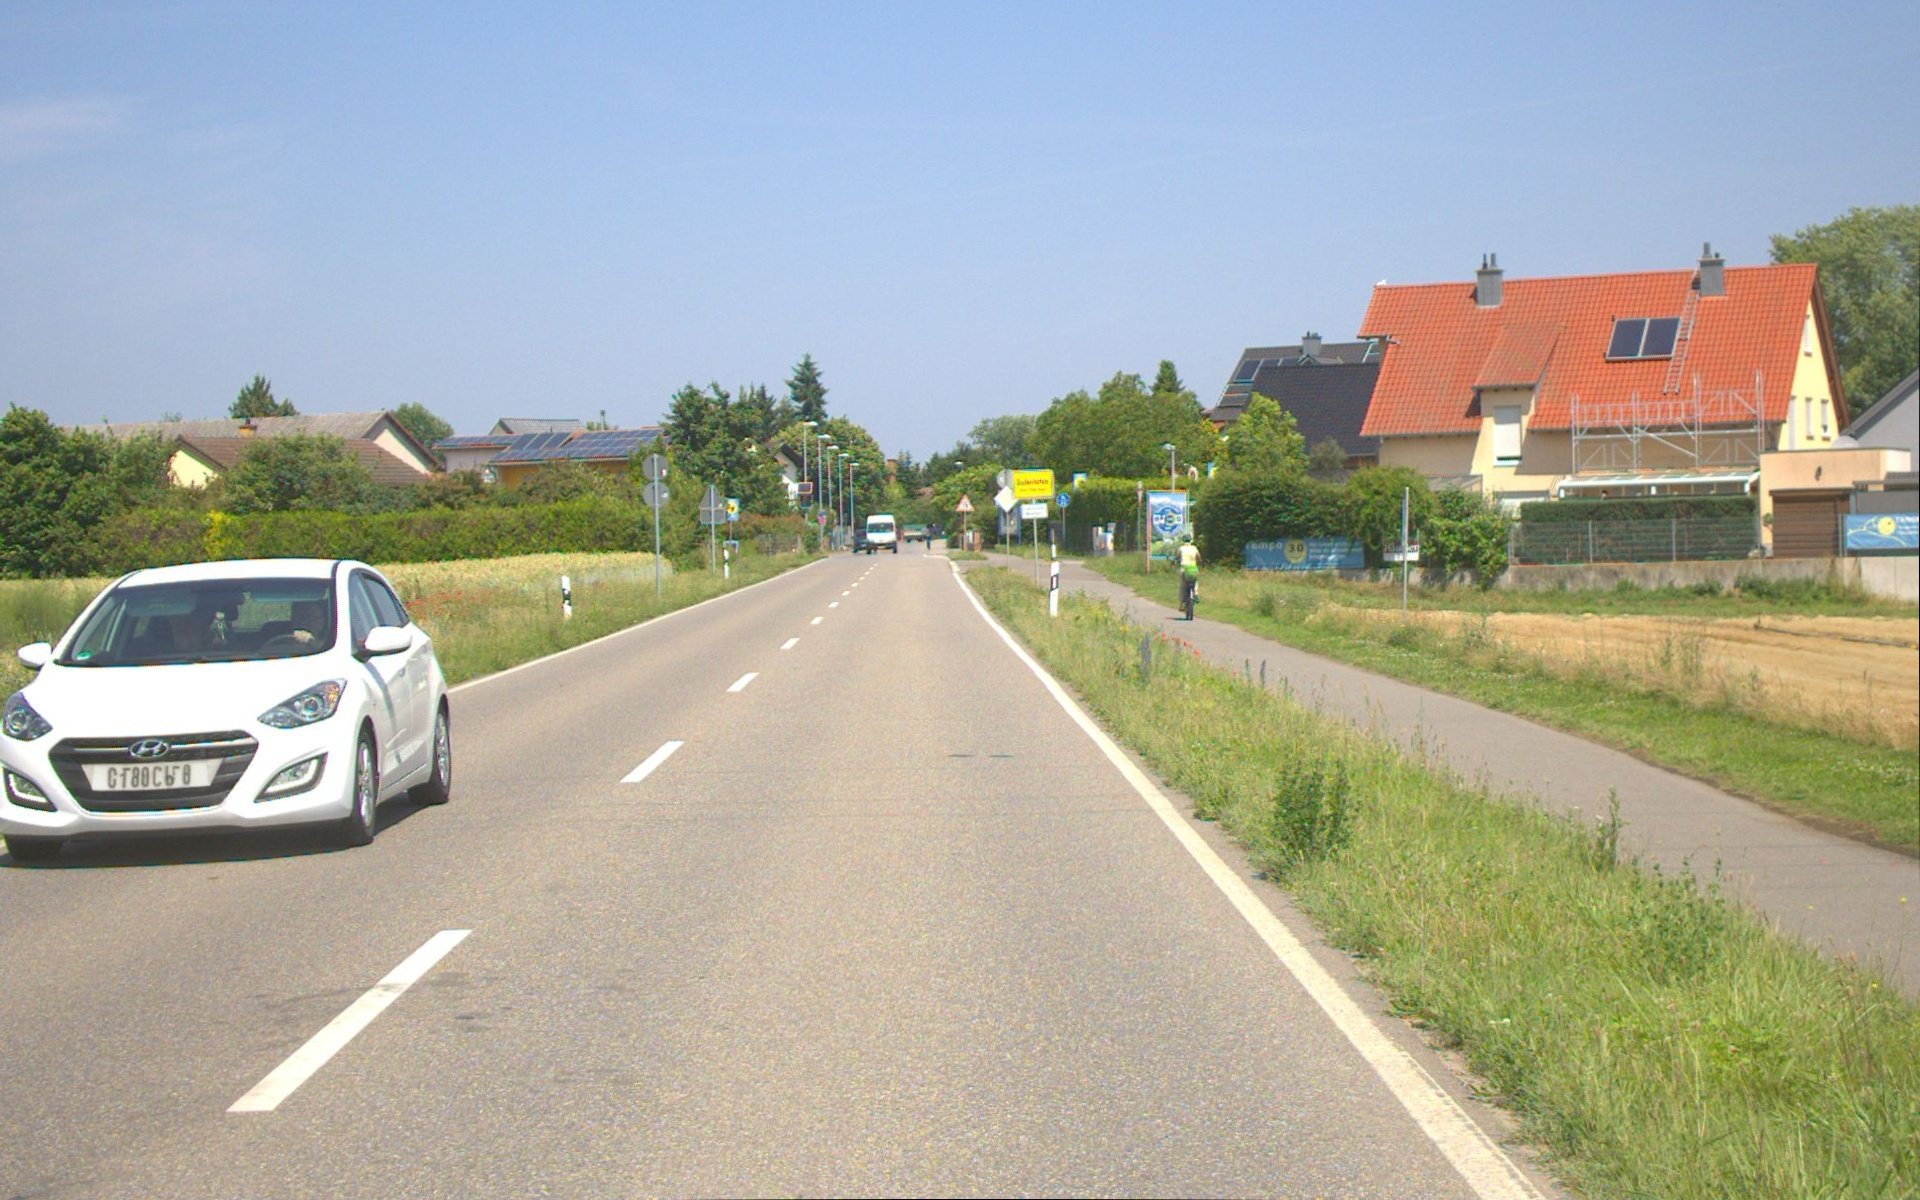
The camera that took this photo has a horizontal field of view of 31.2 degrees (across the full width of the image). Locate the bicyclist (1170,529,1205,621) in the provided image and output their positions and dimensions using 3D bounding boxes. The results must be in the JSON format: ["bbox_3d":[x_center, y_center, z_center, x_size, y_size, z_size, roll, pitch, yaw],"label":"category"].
[{"bbox_3d":[4.737,-0.518,71.583,0.645,1.883,0.861,0,2,-1],"label":"bicyclist"}]

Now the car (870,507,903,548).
[{"bbox_3d":[-4.822,-4.785,226.355,2.077,2.533,5.874,-2,2,-1],"label":"car"}]

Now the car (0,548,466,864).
[{"bbox_3d":[-3.821,0.471,18.275,1.791,1.404,4.186,-2,1,-1],"label":"car"}]

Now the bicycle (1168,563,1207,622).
[{"bbox_3d":[4.730,-0.161,71.668,0.610,1.154,2.274,0,2,-1],"label":"bicycle"}]
